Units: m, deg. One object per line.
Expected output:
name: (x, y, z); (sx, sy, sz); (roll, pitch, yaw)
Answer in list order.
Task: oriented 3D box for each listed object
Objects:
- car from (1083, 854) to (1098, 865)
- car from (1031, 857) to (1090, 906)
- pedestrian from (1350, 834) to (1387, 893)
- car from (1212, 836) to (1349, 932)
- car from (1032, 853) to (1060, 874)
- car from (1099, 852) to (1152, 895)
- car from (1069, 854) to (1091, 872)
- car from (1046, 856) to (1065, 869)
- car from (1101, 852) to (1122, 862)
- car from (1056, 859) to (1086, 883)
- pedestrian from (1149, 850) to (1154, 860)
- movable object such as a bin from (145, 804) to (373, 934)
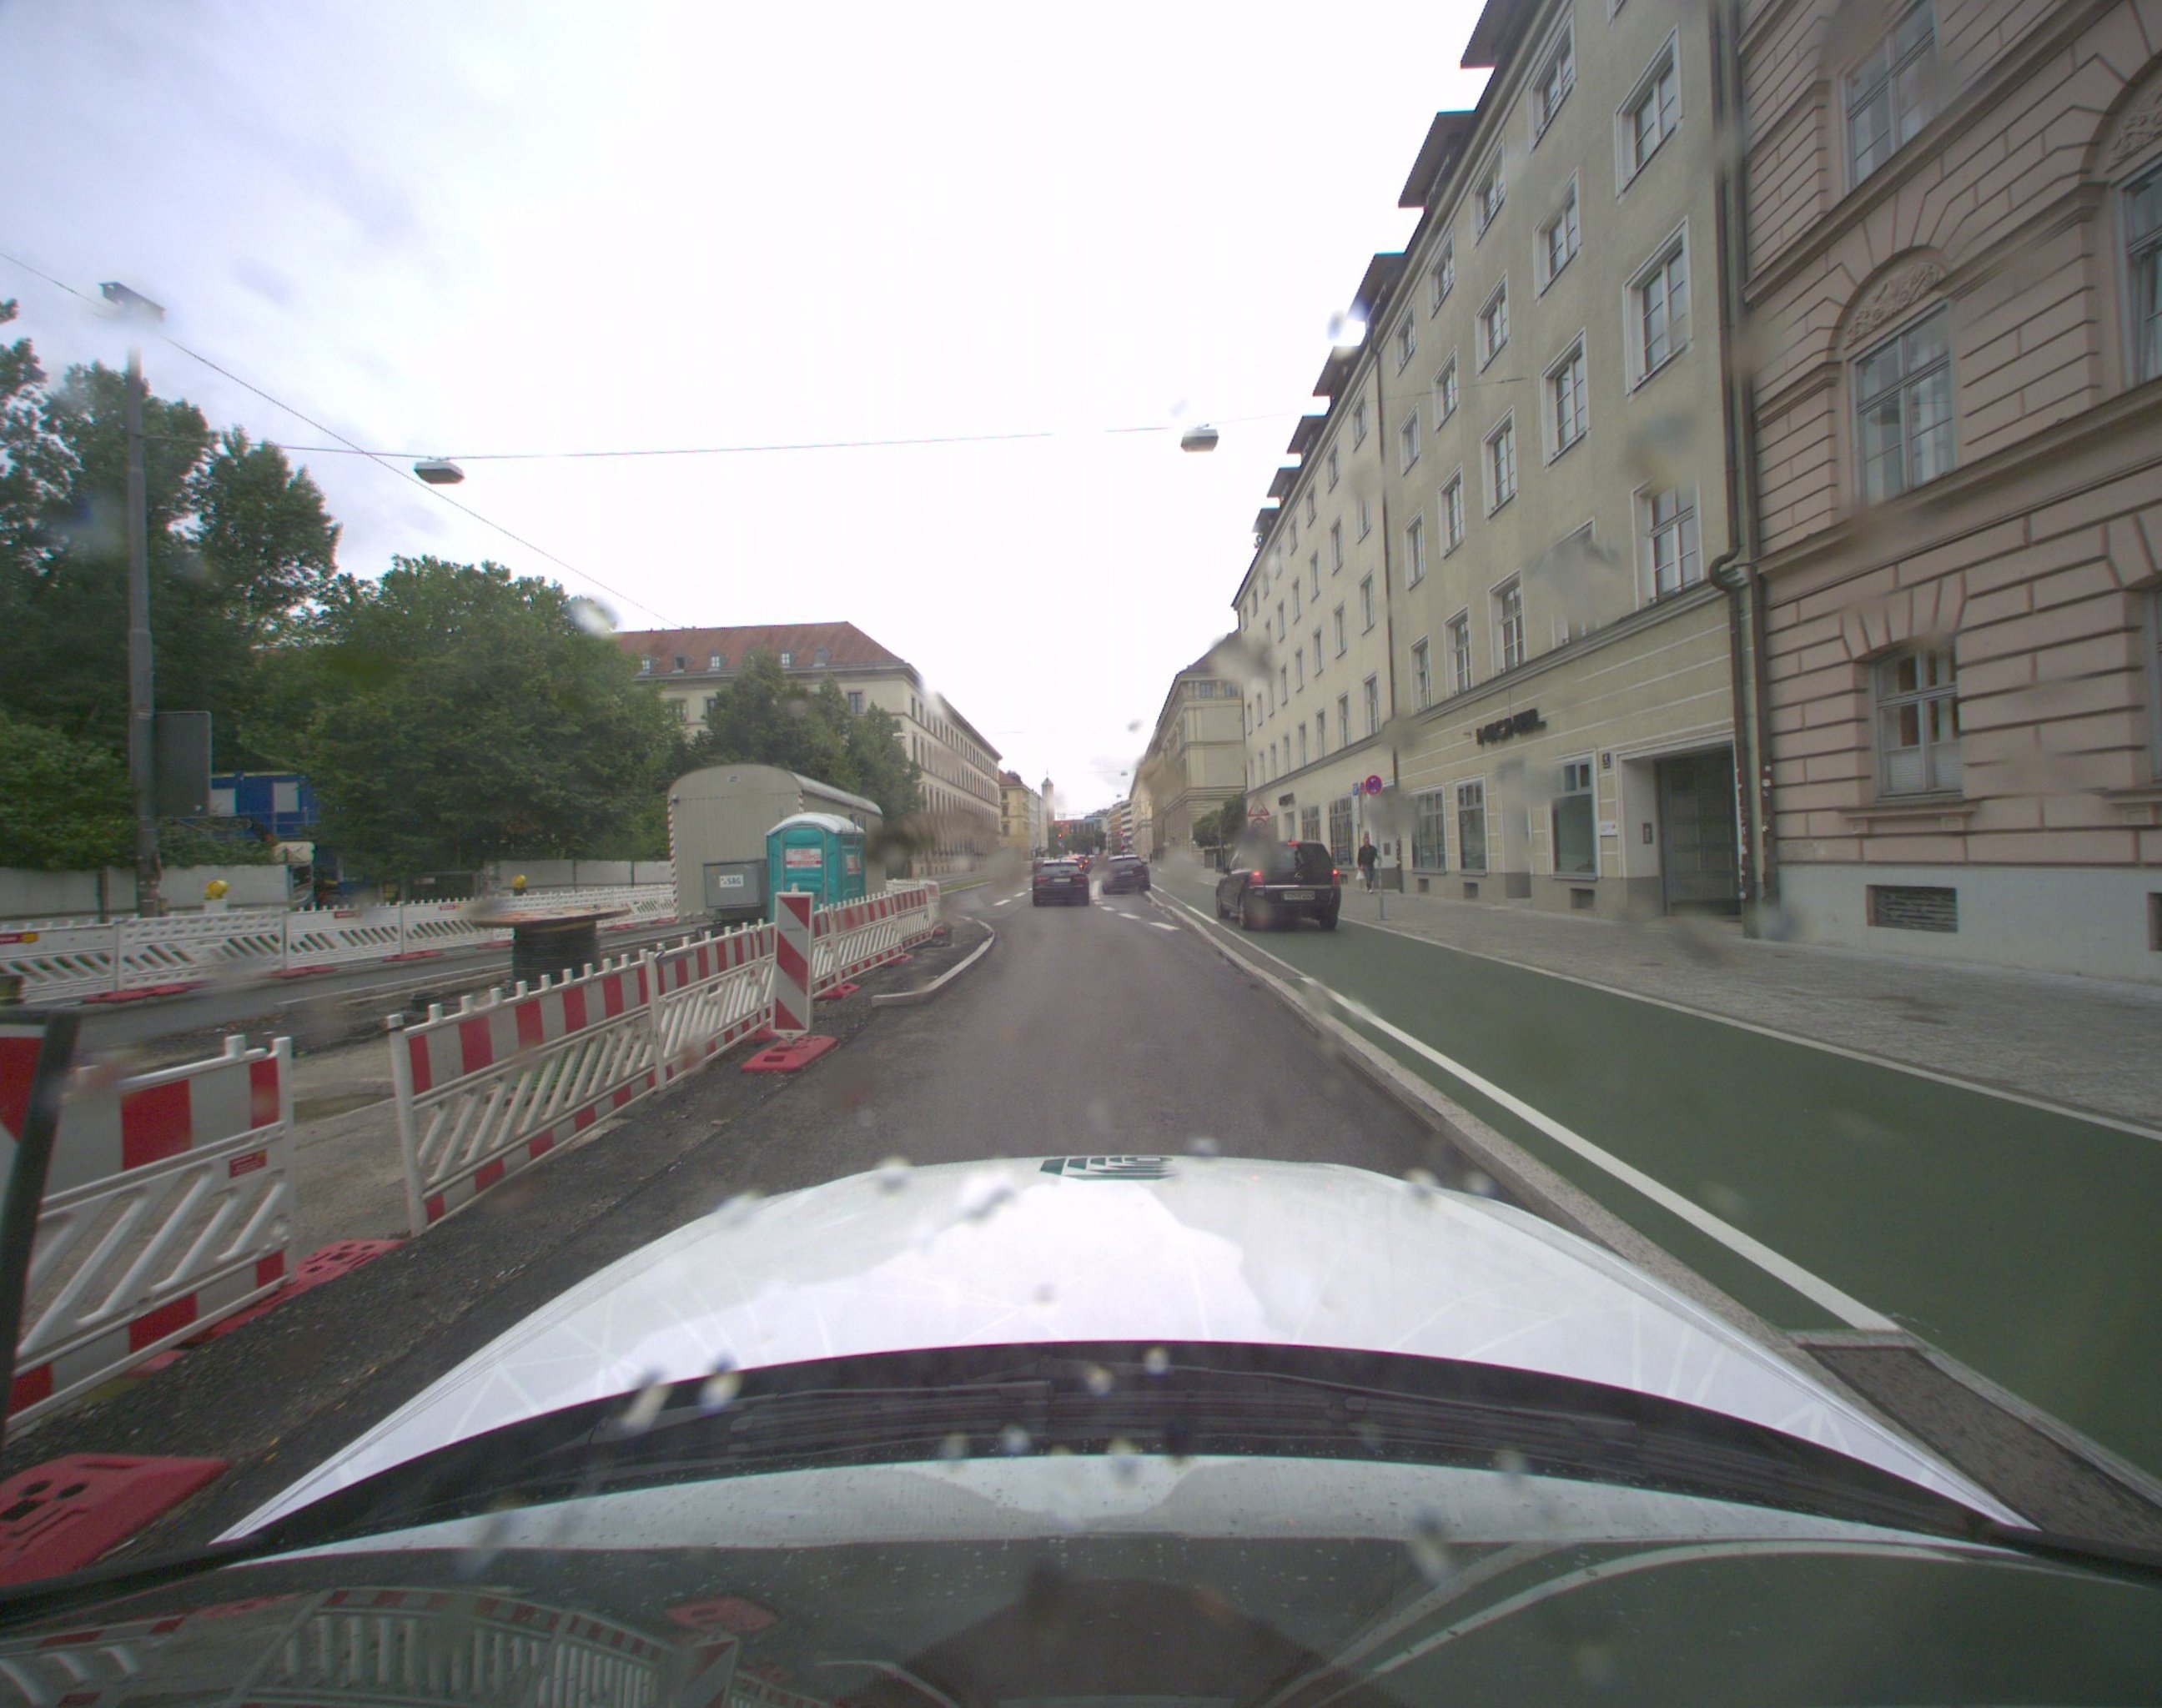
car: (1.446, 0.731, 116.665); (1.986, 1.444, 4.002); (-2, 0, 2)
car: (-0.715, 0.825, 26.116); (1.726, 1.403, 3.996); (-1, 0, -3)
pedestrian: (8.814, 0.278, 25.027); (0.790, 1.745, 0.834); (-2, 0, 2)
car: (3.752, 0.519, 16.005); (1.758, 1.616, 4.031); (-1, 0, 1)
car: (-2.979, 0.803, 69.289); (1.986, 1.627, 4.002); (-2, 0, 2)
car: (1.731, 0.737, 33.294); (1.803, 1.480, 4.461); (-6, 0, 0)
car: (-0.017, 0.772, 69.137); (1.723, 1.461, 4.001); (-1, 0, 2)
car: (-3.086, 1.042, 100.107); (1.986, 1.444, 4.002); (-2, 0, 2)
car: (5.693, 0.574, 151.593); (1.974, 1.750, 4.025); (-2, 0, 31)
car: (-0.605, 1.033, 51.474); (1.723, 1.403, 4.001); (-1, 0, 2)
pedestrian: (11.406, 0.165, 131.575); (0.707, 1.618, 0.754); (-2, 0, 1)
movable object such as a bin: (-27.734, 0.472, 27.821); (2.457, 3.962, 5.066); (-2, 0, 0)
